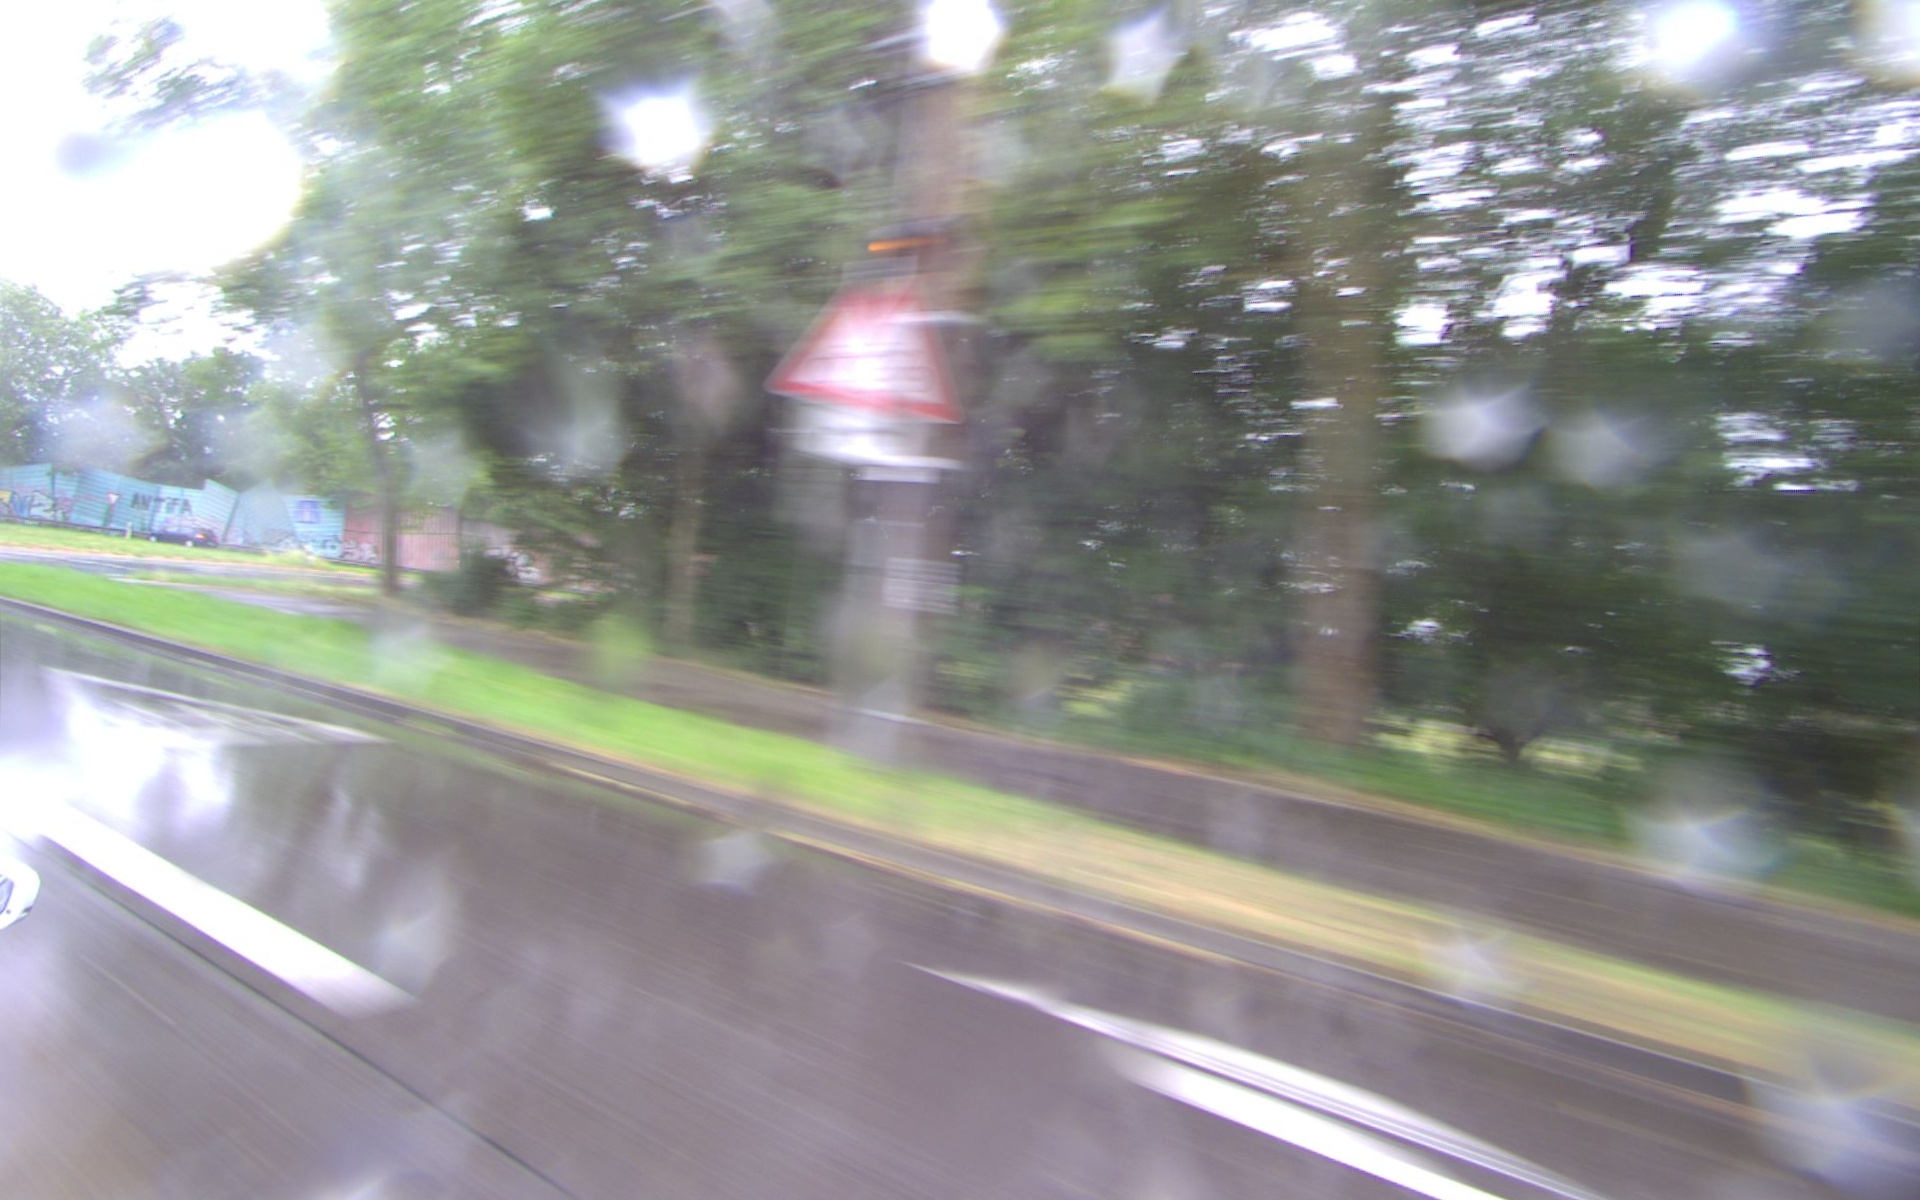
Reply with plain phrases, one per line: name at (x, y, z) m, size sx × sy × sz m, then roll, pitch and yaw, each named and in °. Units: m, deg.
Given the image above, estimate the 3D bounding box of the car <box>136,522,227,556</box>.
car at (-50.281, -3.935, 65.012) m, size 4.431 × 1.555 × 1.870 m, roll 7°, pitch -1°, yaw 6°
